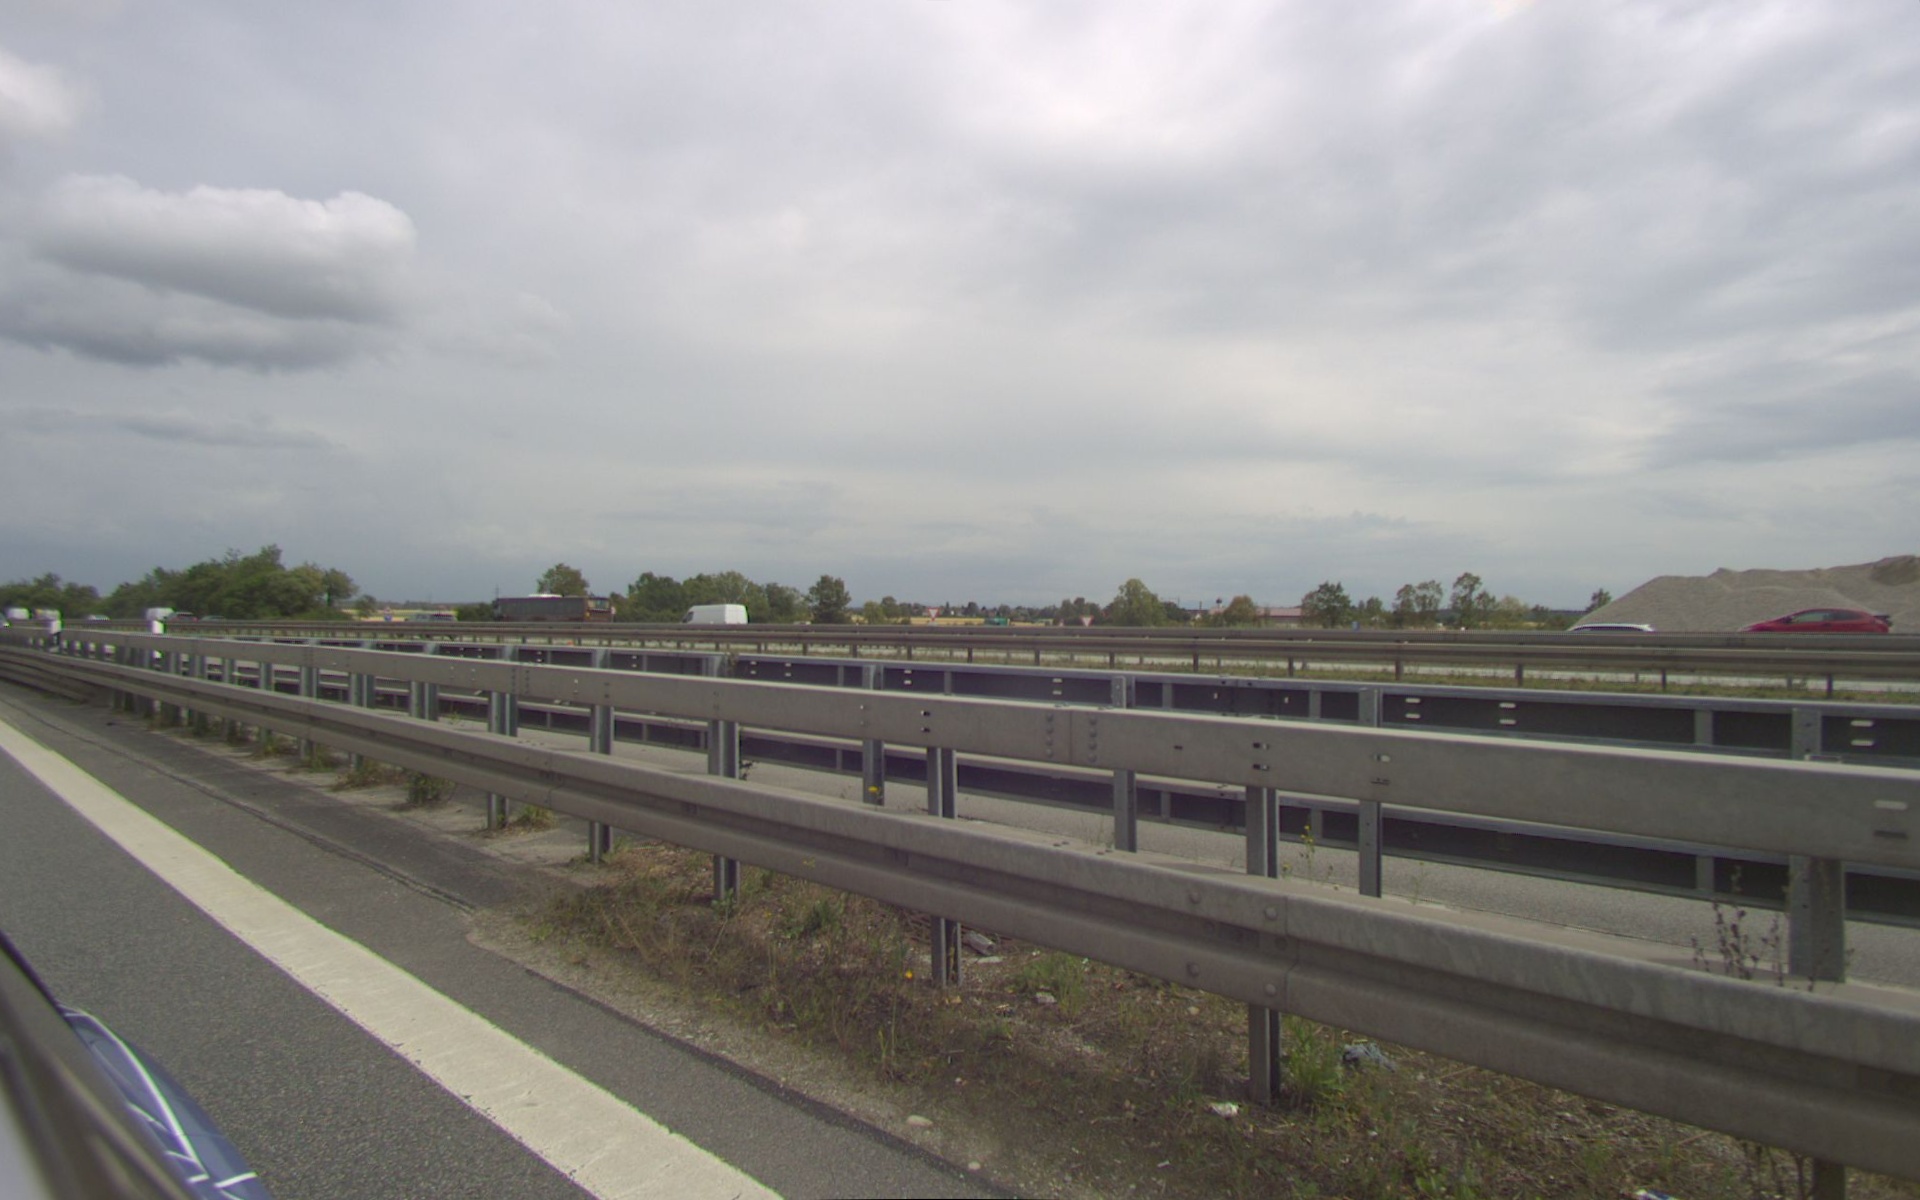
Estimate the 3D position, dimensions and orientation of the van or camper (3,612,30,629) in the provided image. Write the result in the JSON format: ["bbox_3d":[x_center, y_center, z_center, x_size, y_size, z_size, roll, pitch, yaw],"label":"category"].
[{"bbox_3d":[-148.128,3.254,158.918,6.896,2.639,2.166,-1,-1,39],"label":"van or camper"}]

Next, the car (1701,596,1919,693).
[{"bbox_3d":[16.831,0.791,19.006,4.628,1.674,1.974,-1,0,38],"label":"car"}]

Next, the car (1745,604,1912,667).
[{"bbox_3d":[28.041,1.111,32.866,3.995,1.862,1.974,-1,0,38],"label":"car"}]

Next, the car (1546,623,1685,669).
[{"bbox_3d":[23.664,1.609,36.589,3.997,1.497,1.973,-1,1,41],"label":"car"}]

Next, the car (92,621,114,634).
[{"bbox_3d":[-102.832,3.313,121.418,3.998,1.475,1.507,-1,0,41],"label":"car"}]

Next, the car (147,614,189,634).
[{"bbox_3d":[-68.248,2.076,87.150,3.995,1.674,1.974,-1,0,38],"label":"car"}]

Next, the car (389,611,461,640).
[{"bbox_3d":[-29.169,1.391,55.110,4.135,1.480,1.974,-1,0,38],"label":"car"}]

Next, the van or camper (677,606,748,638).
[{"bbox_3d":[-16.378,1.447,66.766,4.877,2.029,1.974,-1,0,38],"label":"van or camper"}]

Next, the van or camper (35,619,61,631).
[{"bbox_3d":[-161.539,4.402,179.194,6.267,2.029,2.214,-1,-1,37],"label":"van or camper"}]

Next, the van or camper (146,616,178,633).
[{"bbox_3d":[-107.854,3.305,136.754,5.801,2.188,2.166,-1,-1,38],"label":"van or camper"}]

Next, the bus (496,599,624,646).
[{"bbox_3d":[-31.610,1.737,79.511,12.973,3.468,3.184,-1,0,38],"label":"bus"}]
